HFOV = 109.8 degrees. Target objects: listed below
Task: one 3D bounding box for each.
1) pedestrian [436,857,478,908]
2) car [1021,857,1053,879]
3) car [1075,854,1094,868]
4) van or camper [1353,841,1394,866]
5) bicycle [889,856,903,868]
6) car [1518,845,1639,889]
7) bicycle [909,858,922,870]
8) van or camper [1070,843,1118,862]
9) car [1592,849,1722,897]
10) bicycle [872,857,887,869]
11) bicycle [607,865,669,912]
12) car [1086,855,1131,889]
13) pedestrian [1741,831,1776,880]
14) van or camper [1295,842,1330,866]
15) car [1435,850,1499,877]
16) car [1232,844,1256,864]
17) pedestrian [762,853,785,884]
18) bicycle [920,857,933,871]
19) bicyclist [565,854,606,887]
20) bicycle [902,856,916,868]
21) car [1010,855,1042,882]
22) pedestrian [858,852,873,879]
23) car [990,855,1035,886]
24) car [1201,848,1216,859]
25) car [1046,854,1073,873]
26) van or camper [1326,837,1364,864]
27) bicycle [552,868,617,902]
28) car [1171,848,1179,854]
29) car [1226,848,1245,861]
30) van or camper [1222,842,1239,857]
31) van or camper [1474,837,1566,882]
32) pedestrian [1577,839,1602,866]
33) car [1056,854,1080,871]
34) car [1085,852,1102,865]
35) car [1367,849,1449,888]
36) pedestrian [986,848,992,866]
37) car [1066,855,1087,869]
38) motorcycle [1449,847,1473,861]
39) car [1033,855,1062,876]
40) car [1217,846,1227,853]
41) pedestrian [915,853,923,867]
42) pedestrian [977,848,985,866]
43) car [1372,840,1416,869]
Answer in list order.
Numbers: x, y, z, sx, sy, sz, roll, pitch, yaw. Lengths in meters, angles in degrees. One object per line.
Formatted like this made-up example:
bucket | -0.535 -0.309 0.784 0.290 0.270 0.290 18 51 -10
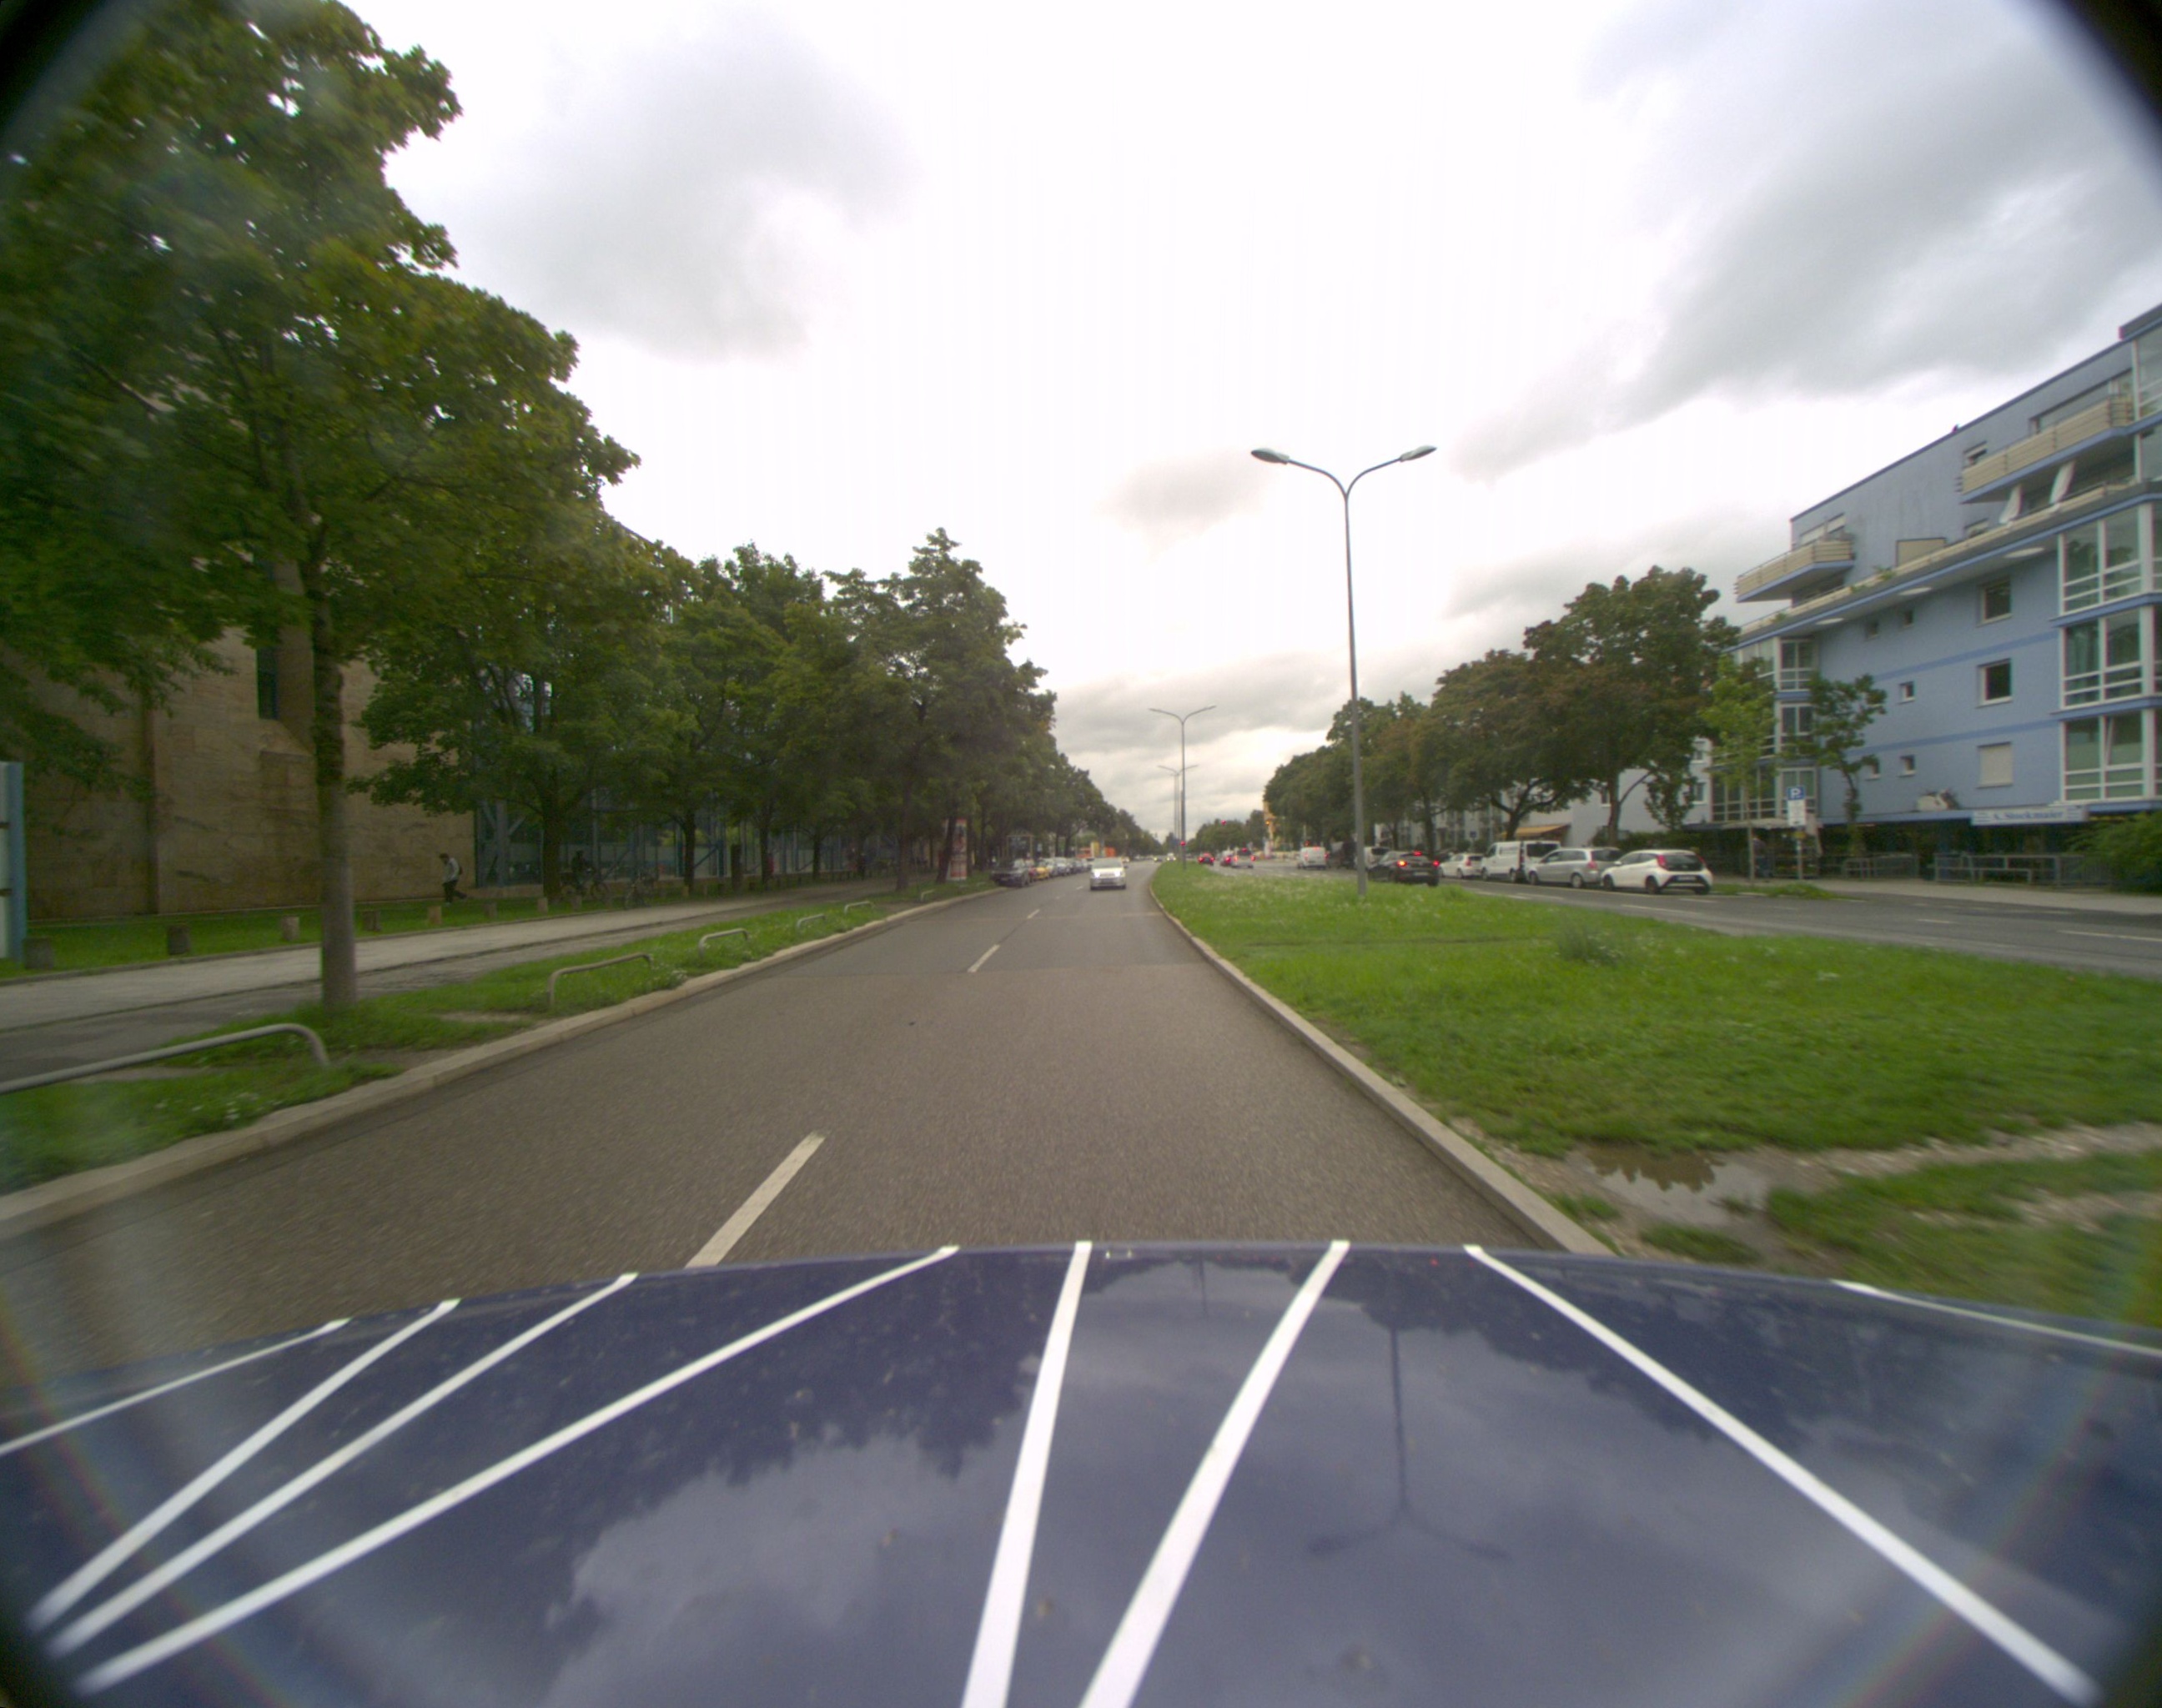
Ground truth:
pedestrian | -20.427 0.911 24.891 0.571 1.636 0.880 0 1 29
car | -3.007 0.936 52.720 1.626 1.373 4.196 0 1 5
car | 0.370 0.685 79.048 1.589 1.395 3.736 -1 1 7
van or camper | 23.528 -0.045 61.357 2.025 1.931 4.706 -1 1 7
bicycle | -15.616 0.659 64.122 0.618 0.935 1.763 -1 0 5
car | 19.737 0.459 30.412 1.703 1.606 4.663 -1 1 -1
bicycle | -14.160 0.852 65.098 0.512 0.935 2.142 -1 0 5
van or camper | 2.603 -0.386 148.489 3.314 3.533 10.919 0 1 39
car | 19.231 0.568 25.580 1.651 1.481 3.903 -1 1 5
bicycle | -16.809 0.768 63.479 0.571 0.935 2.064 -1 1 5
bicycle | -12.585 0.953 21.642 0.622 1.243 1.920 -1 1 0
car | 1.302 0.784 34.514 1.678 1.434 3.736 -1 1 7
pedestrian | 25.591 0.058 28.711 0.643 1.795 0.780 -1 1 10
van or camper | 20.722 -0.023 68.210 2.019 2.004 5.200 -1 1 6
car | 21.216 0.479 41.951 1.679 1.386 4.336 -1 1 5
car | 16.265 -0.031 76.149 1.943 1.986 4.706 -1 1 7
pedestrian | -16.531 0.771 40.872 0.737 1.636 0.864 1 2 20
bicycle | -13.219 0.847 65.170 0.512 1.186 2.142 -1 1 5
bicyclist | -17.523 0.571 26.883 0.725 1.123 0.961 0 1 27
bicycle | -14.701 0.683 65.065 0.512 0.935 2.142 -1 0 5
car | -3.475 0.882 48.303 1.554 1.564 3.625 -1 1 4
pedestrian | -13.359 0.689 47.088 0.738 1.636 0.645 1 2 2
car | -3.803 0.902 43.056 1.865 1.581 4.604 -1 1 4
car | 16.083 -0.073 95.934 1.760 1.440 3.673 -1 1 7
car | -1.735 0.762 62.831 1.681 1.522 4.098 -1 1 7
van or camper | 24.552 -0.336 70.910 2.054 2.472 5.550 -1 1 5
bicycle | -17.536 1.072 26.859 0.725 1.123 1.770 0 1 27
car | 20.033 -0.561 161.744 1.589 1.259 3.736 -1 1 7
car | 17.354 0.055 85.472 1.795 1.440 3.673 -1 1 7
van or camper | 18.432 -0.563 93.992 1.795 1.787 4.126 -1 1 7
van or camper | 20.465 0.236 35.714 1.808 1.956 5.213 -1 1 6
pedestrian | 30.747 -0.101 45.927 0.768 1.593 0.974 -1 1 -19
car | -1.133 0.731 67.993 1.681 1.497 3.736 -1 1 7
car | 1.512 0.516 90.452 1.589 1.495 3.736 -1 1 7
car | 13.255 0.543 31.080 1.961 1.471 4.261 -1 0 7
pedestrian | -8.737 0.300 72.087 0.528 1.713 0.660 1 2 2
car | -0.428 0.750 73.463 1.589 1.310 3.736 -1 1 7
motorcycle | 32.138 -0.002 64.258 1.813 1.164 0.464 -1 1 2
car | -2.498 0.835 57.504 1.626 1.466 3.897 -1 1 7
car | 37.308 -1.137 200.915 2.144 1.878 4.001 -1 0 5
pedestrian | -13.743 0.530 64.537 0.506 1.173 0.426 1 2 6
pedestrian | -9.454 0.289 72.055 0.612 1.680 0.612 1 2 2
car | 22.763 -0.002 55.467 1.800 1.986 4.548 -1 1 7
